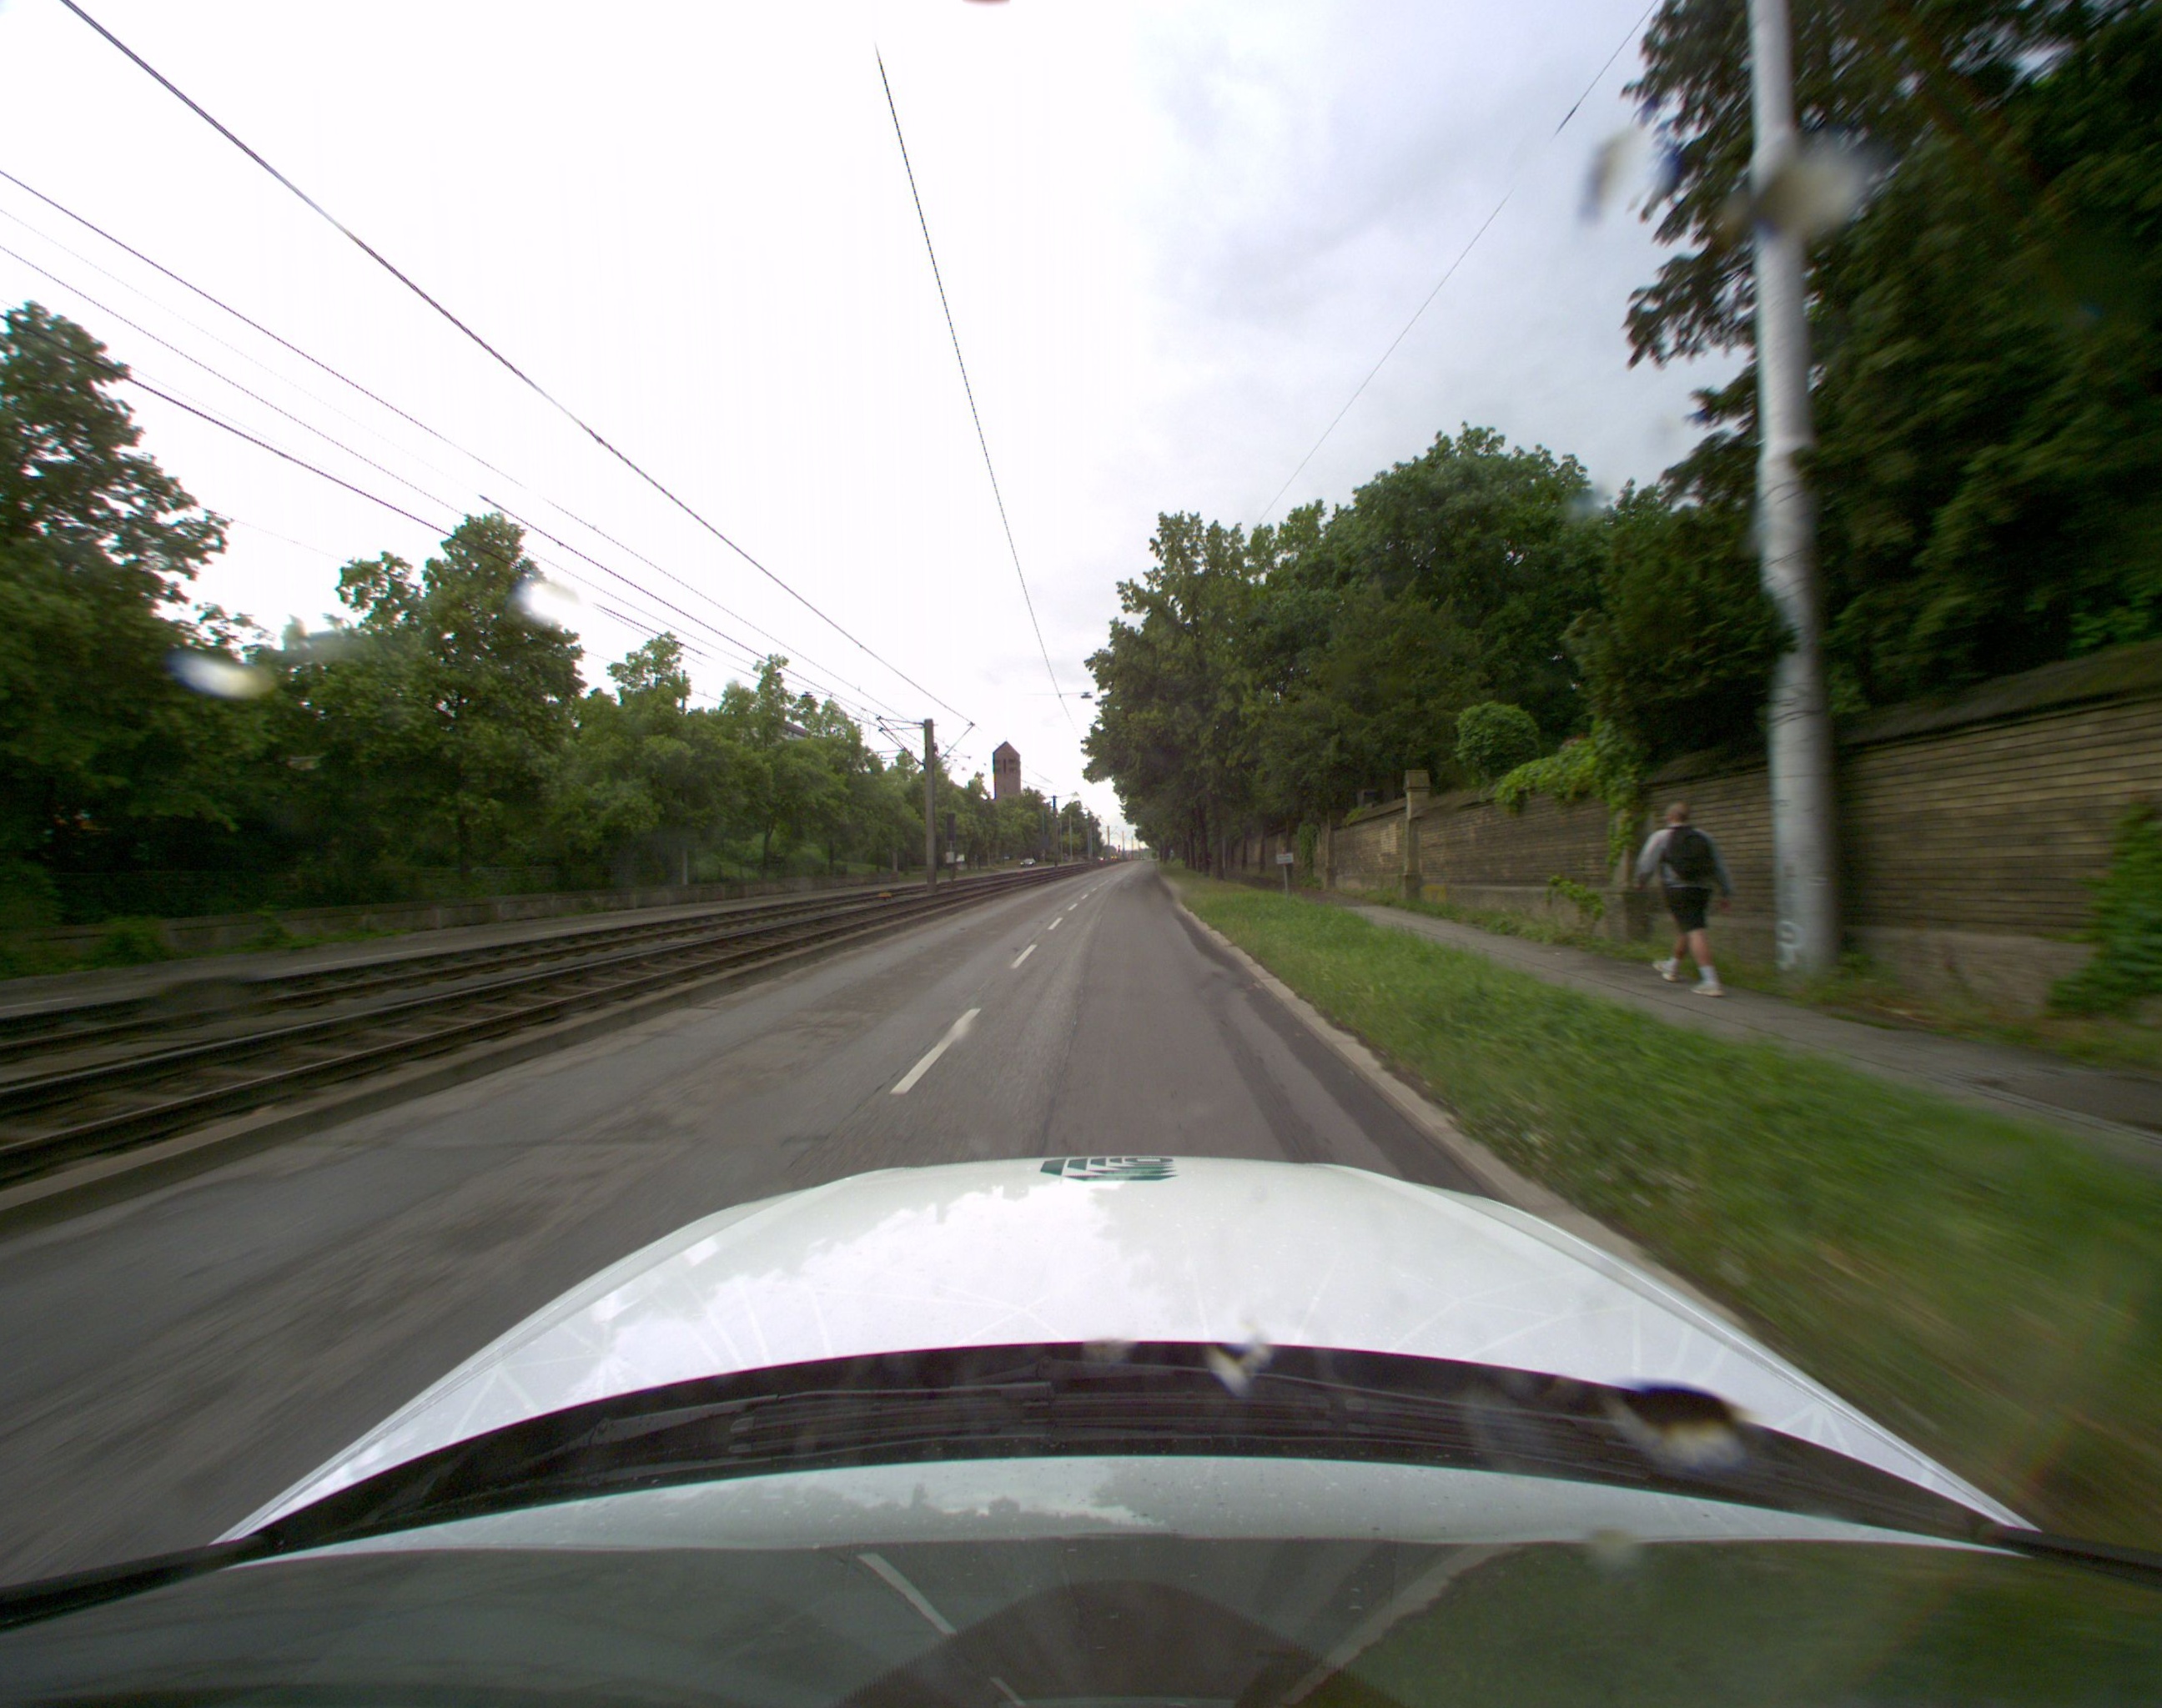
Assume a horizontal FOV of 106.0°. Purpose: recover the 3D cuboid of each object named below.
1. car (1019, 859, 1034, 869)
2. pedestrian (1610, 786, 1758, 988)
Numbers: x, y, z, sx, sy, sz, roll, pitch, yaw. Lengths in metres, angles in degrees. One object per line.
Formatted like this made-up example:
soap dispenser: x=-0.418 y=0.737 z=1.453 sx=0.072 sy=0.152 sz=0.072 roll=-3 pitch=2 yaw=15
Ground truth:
car: x=-8.945 y=1.594 z=134.004 sx=1.786 sy=1.530 sz=4.627 roll=-2 pitch=0 yaw=4
pedestrian: x=5.641 y=0.293 z=7.672 sx=0.705 sy=1.779 sz=0.901 roll=-1 pitch=0 yaw=2
